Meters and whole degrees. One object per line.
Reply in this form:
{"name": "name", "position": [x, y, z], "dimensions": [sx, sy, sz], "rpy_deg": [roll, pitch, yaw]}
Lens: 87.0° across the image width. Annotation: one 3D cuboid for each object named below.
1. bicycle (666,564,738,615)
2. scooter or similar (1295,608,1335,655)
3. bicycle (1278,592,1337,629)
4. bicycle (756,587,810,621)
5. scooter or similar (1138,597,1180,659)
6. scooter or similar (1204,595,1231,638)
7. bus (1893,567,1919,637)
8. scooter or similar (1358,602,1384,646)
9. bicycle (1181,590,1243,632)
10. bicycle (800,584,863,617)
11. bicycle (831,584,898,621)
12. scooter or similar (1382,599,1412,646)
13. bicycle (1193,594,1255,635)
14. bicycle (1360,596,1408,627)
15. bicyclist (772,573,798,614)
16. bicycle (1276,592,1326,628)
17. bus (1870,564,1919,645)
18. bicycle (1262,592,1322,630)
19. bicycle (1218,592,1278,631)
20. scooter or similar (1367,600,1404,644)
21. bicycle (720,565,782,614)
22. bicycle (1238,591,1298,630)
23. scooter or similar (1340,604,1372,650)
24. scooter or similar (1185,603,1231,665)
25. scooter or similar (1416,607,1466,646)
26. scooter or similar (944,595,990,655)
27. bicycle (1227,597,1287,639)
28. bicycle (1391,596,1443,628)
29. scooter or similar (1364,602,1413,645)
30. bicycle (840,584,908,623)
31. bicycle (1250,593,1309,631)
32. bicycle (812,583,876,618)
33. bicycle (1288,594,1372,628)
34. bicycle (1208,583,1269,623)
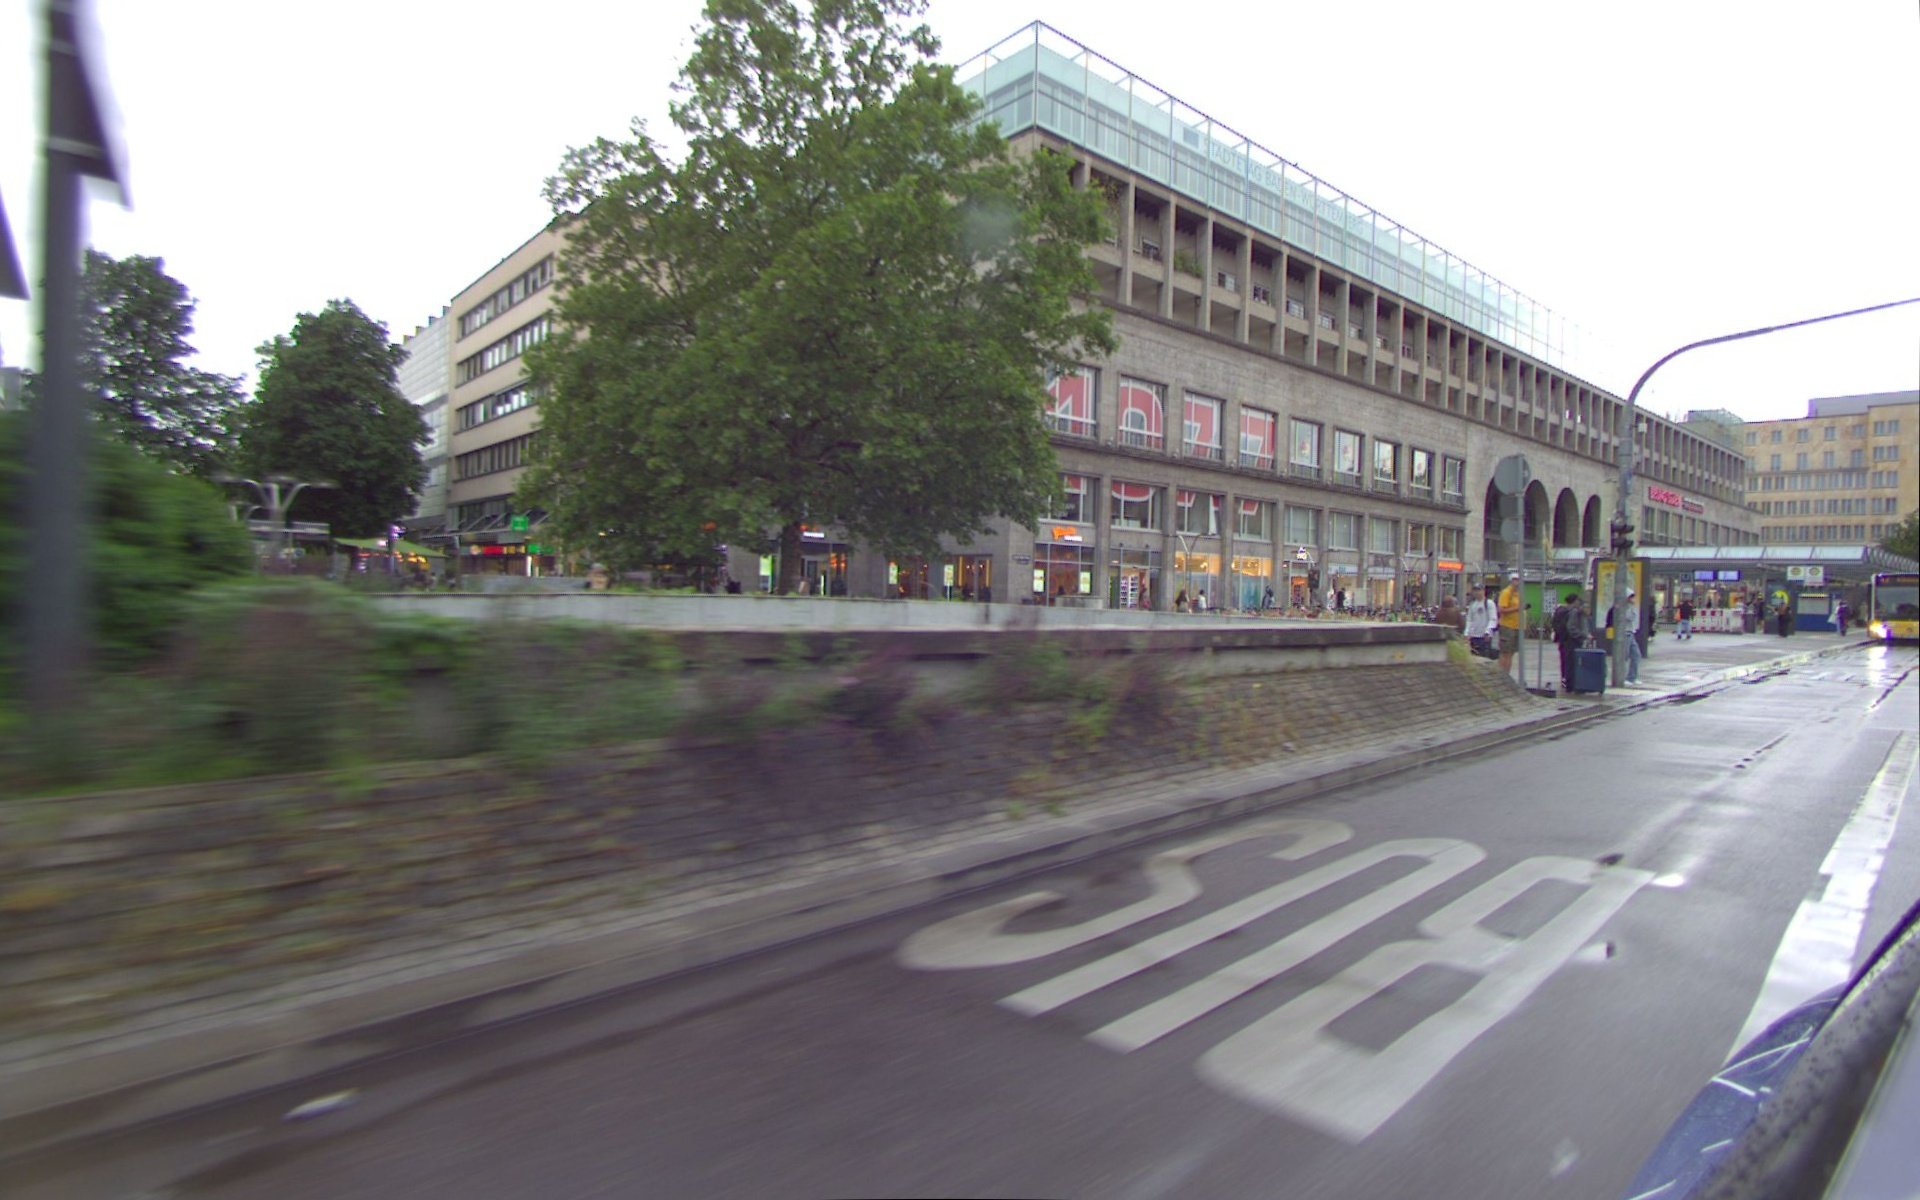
{"name": "bicycle", "position": [-8.237, -0.329, 32.364], "dimensions": [2.090, 1.582, 0.796], "rpy_deg": [1, 0, -35]}
{"name": "scooter or similar", "position": [9.943, 0.857, 28.396], "dimensions": [0.429, 1.266, 1.369], "rpy_deg": [0, 0, -11]}
{"name": "bicycle", "position": [13.030, 0.368, 37.995], "dimensions": [1.984, 1.252, 0.610], "rpy_deg": [3, 2, 36]}
{"name": "bicycle", "position": [-6.826, 0.167, 39.092], "dimensions": [1.973, 1.271, 0.662], "rpy_deg": [1, 0, -4]}
{"name": "scooter or similar", "position": [4.255, 0.572, 21.564], "dimensions": [0.371, 1.275, 1.299], "rpy_deg": [-1, 0, 35]}
{"name": "scooter or similar", "position": [7.869, 0.487, 30.869], "dimensions": [0.614, 1.276, 1.739], "rpy_deg": [0, 0, 21]}
{"name": "bus", "position": [48.345, 0.068, 49.474], "dimensions": [8.978, 3.288, 3.146], "rpy_deg": [0, 0, -42]}
{"name": "scooter or similar", "position": [11.596, 0.673, 28.543], "dimensions": [0.940, 1.222, 0.305], "rpy_deg": [0, 0, -42]}
{"name": "bicycle", "position": [8.361, 0.343, 33.664], "dimensions": [0.607, 1.252, 1.994], "rpy_deg": [1, 2, -40]}
{"name": "bicycle", "position": [-4.183, 0.013, 33.061], "dimensions": [1.958, 1.038, 0.618], "rpy_deg": [1, 2, -35]}
{"name": "bicycle", "position": [-2.979, 0.091, 31.654], "dimensions": [1.986, 1.115, 0.618], "rpy_deg": [1, 2, -35]}
{"name": "scooter or similar", "position": [11.874, 0.599, 27.482], "dimensions": [1.080, 1.252, 0.324], "rpy_deg": [0, 0, -42]}
{"name": "bicycle", "position": [8.923, 0.463, 34.290], "dimensions": [0.607, 1.252, 1.994], "rpy_deg": [1, 2, -40]}
{"name": "bicycle", "position": [17.111, 0.445, 40.844], "dimensions": [1.718, 1.123, 0.682], "rpy_deg": [3, 2, 26]}
{"name": "bicyclist", "position": [-6.754, -0.248, 39.083], "dimensions": [0.889, 1.574, 0.652], "rpy_deg": [1, 1, -4]}
{"name": "bicycle", "position": [12.585, 0.360, 37.376], "dimensions": [0.607, 1.240, 1.620], "rpy_deg": [1, 2, -40]}
{"name": "bus", "position": [41.675, 0.152, 43.399], "dimensions": [9.085, 3.245, 3.117], "rpy_deg": [0, 0, -43]}
{"name": "bicycle", "position": [12.113, 0.389, 36.970], "dimensions": [0.607, 1.281, 1.994], "rpy_deg": [1, 2, -40]}
{"name": "bicycle", "position": [10.016, 0.386, 35.249], "dimensions": [0.607, 1.252, 1.994], "rpy_deg": [1, 2, -40]}
{"name": "scooter or similar", "position": [12.559, 0.640, 29.897], "dimensions": [0.559, 1.246, 1.369], "rpy_deg": [0, 0, 2]}
{"name": "bicycle", "position": [-7.152, -0.350, 34.649], "dimensions": [1.958, 1.654, 0.618], "rpy_deg": [1, 0, -35]}
{"name": "bicycle", "position": [10.974, 0.352, 36.112], "dimensions": [0.607, 1.252, 1.994], "rpy_deg": [1, 2, -40]}
{"name": "scooter or similar", "position": [11.341, 0.767, 28.979], "dimensions": [1.152, 1.297, 0.369], "rpy_deg": [0, 0, -42]}
{"name": "scooter or similar", "position": [5.084, 0.673, 20.730], "dimensions": [1.139, 1.232, 0.352], "rpy_deg": [0, -1, -44]}
{"name": "scooter or similar", "position": [14.189, 0.777, 29.848], "dimensions": [1.337, 1.144, 0.439], "rpy_deg": [0, -2, -16]}
{"name": "scooter or similar", "position": [0.177, 0.561, 23.559], "dimensions": [0.407, 1.349, 1.299], "rpy_deg": [-1, 0, 35]}
{"name": "bicycle", "position": [10.463, 0.614, 35.685], "dimensions": [0.607, 1.352, 1.994], "rpy_deg": [1, 2, -40]}
{"name": "bicycle", "position": [19.608, 0.485, 43.466], "dimensions": [0.605, 1.252, 1.998], "rpy_deg": [1, 2, -32]}
{"name": "scooter or similar", "position": [13.048, 0.697, 30.811], "dimensions": [1.298, 1.272, 0.585], "rpy_deg": [0, 0, 35]}
{"name": "bicycle", "position": [-2.609, 0.114, 30.779], "dimensions": [1.986, 1.115, 0.618], "rpy_deg": [1, 2, -35]}
{"name": "bicycle", "position": [11.514, 0.430, 36.525], "dimensions": [0.607, 1.252, 1.994], "rpy_deg": [1, 2, -40]}
{"name": "bicycle", "position": [-3.721, 0.033, 32.491], "dimensions": [1.958, 1.068, 0.618], "rpy_deg": [1, 2, -35]}
{"name": "bicycle", "position": [14.167, 0.417, 38.781], "dimensions": [2.869, 1.123, 0.868], "rpy_deg": [4, 2, 36]}
{"name": "bicycle", "position": [9.570, 0.078, 34.839], "dimensions": [0.607, 1.252, 1.994], "rpy_deg": [1, 2, -40]}
